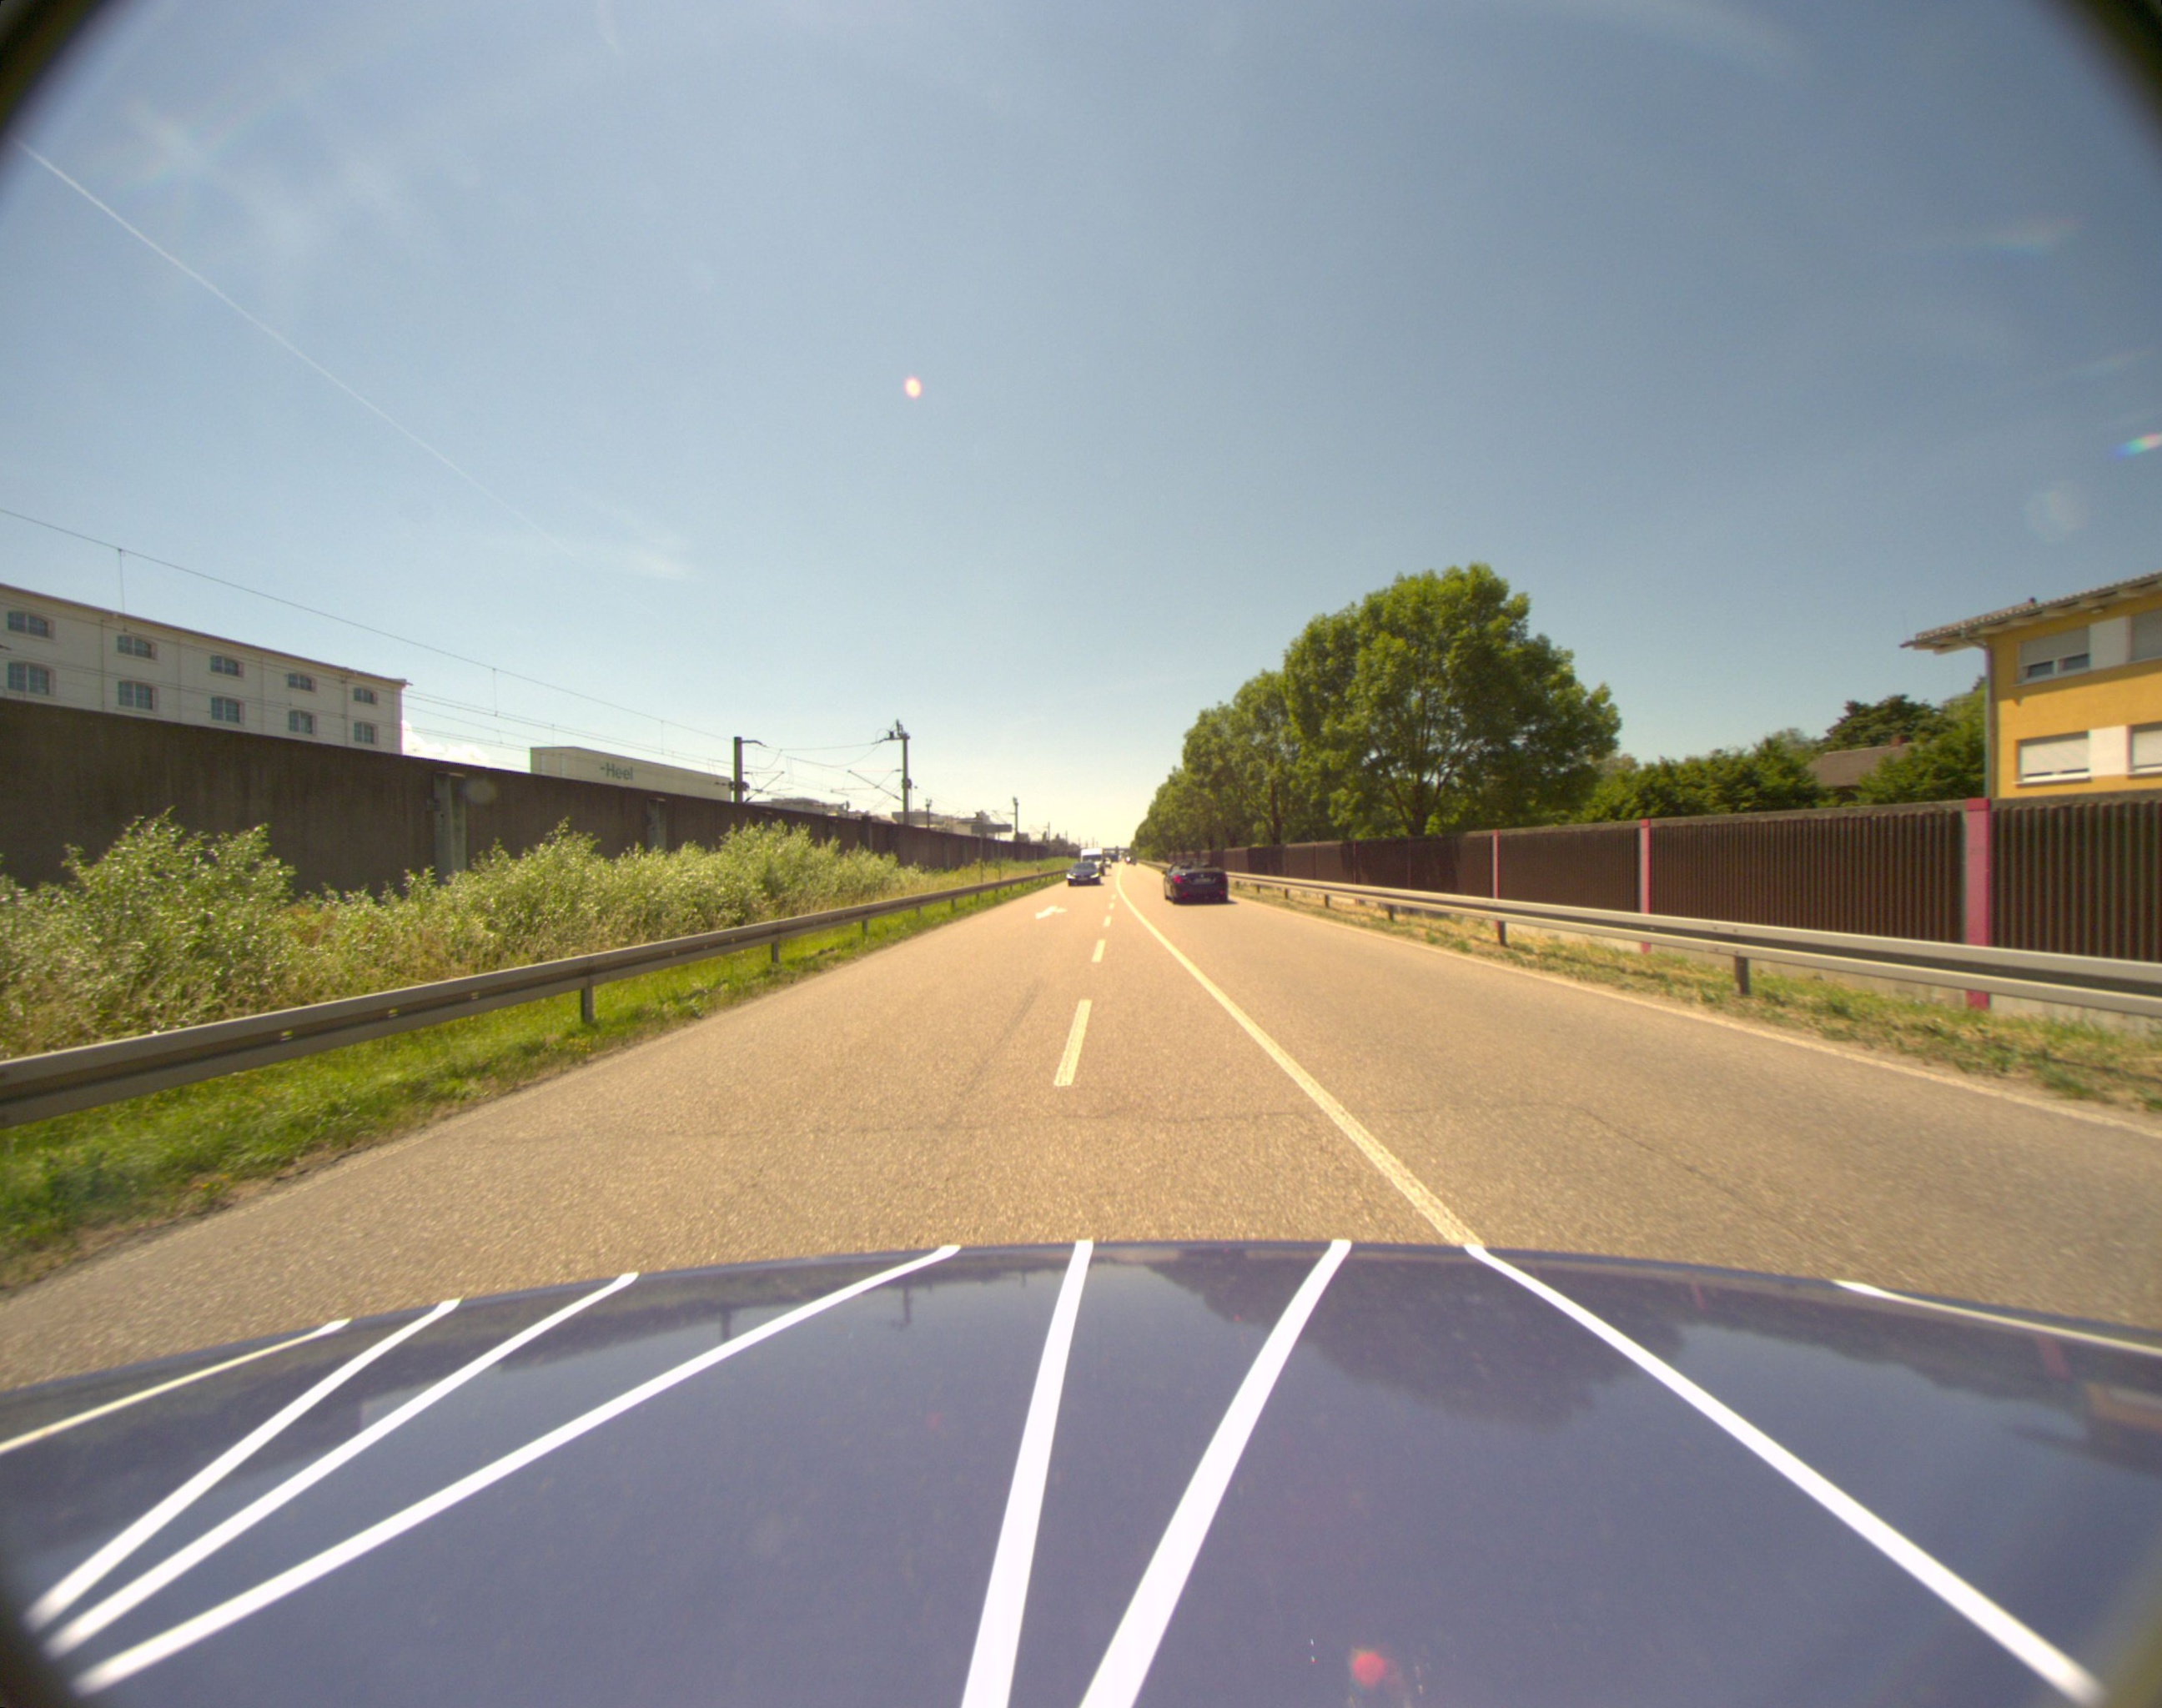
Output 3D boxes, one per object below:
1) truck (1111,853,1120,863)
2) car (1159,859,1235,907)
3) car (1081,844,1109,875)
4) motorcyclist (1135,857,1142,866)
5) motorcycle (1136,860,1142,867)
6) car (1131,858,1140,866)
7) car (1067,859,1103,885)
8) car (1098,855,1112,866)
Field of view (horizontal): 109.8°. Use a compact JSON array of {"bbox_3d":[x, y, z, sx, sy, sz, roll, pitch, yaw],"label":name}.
[{"bbox_3d":[10.721,1.155,236.576,2.616,3.024,10.657,-2,0,2],"label":"truck"},{"bbox_3d":[3.742,0.893,25.180,1.849,1.382,4.190,-3,0,1],"label":"car"},{"bbox_3d":[1.320,0.483,67.892,2.193,2.588,6.752,-3,0,3],"label":"car"},{"bbox_3d":[9.977,1.282,131.724,0.951,1.536,1.214,-3,0,2],"label":"motorcyclist"},{"bbox_3d":[10.001,1.635,131.810,0.951,1.023,2.386,-3,0,2],"label":"motorcycle"},{"bbox_3d":[11.179,1.713,155.418,1.757,1.499,4.530,-3,0,3],"label":"car"},{"bbox_3d":[0.280,1.071,45.806,1.861,1.371,4.504,-3,0,4],"label":"car"},{"bbox_3d":[3.486,0.916,110.971,1.822,1.554,4.278,-2,0,1],"label":"car"}]
